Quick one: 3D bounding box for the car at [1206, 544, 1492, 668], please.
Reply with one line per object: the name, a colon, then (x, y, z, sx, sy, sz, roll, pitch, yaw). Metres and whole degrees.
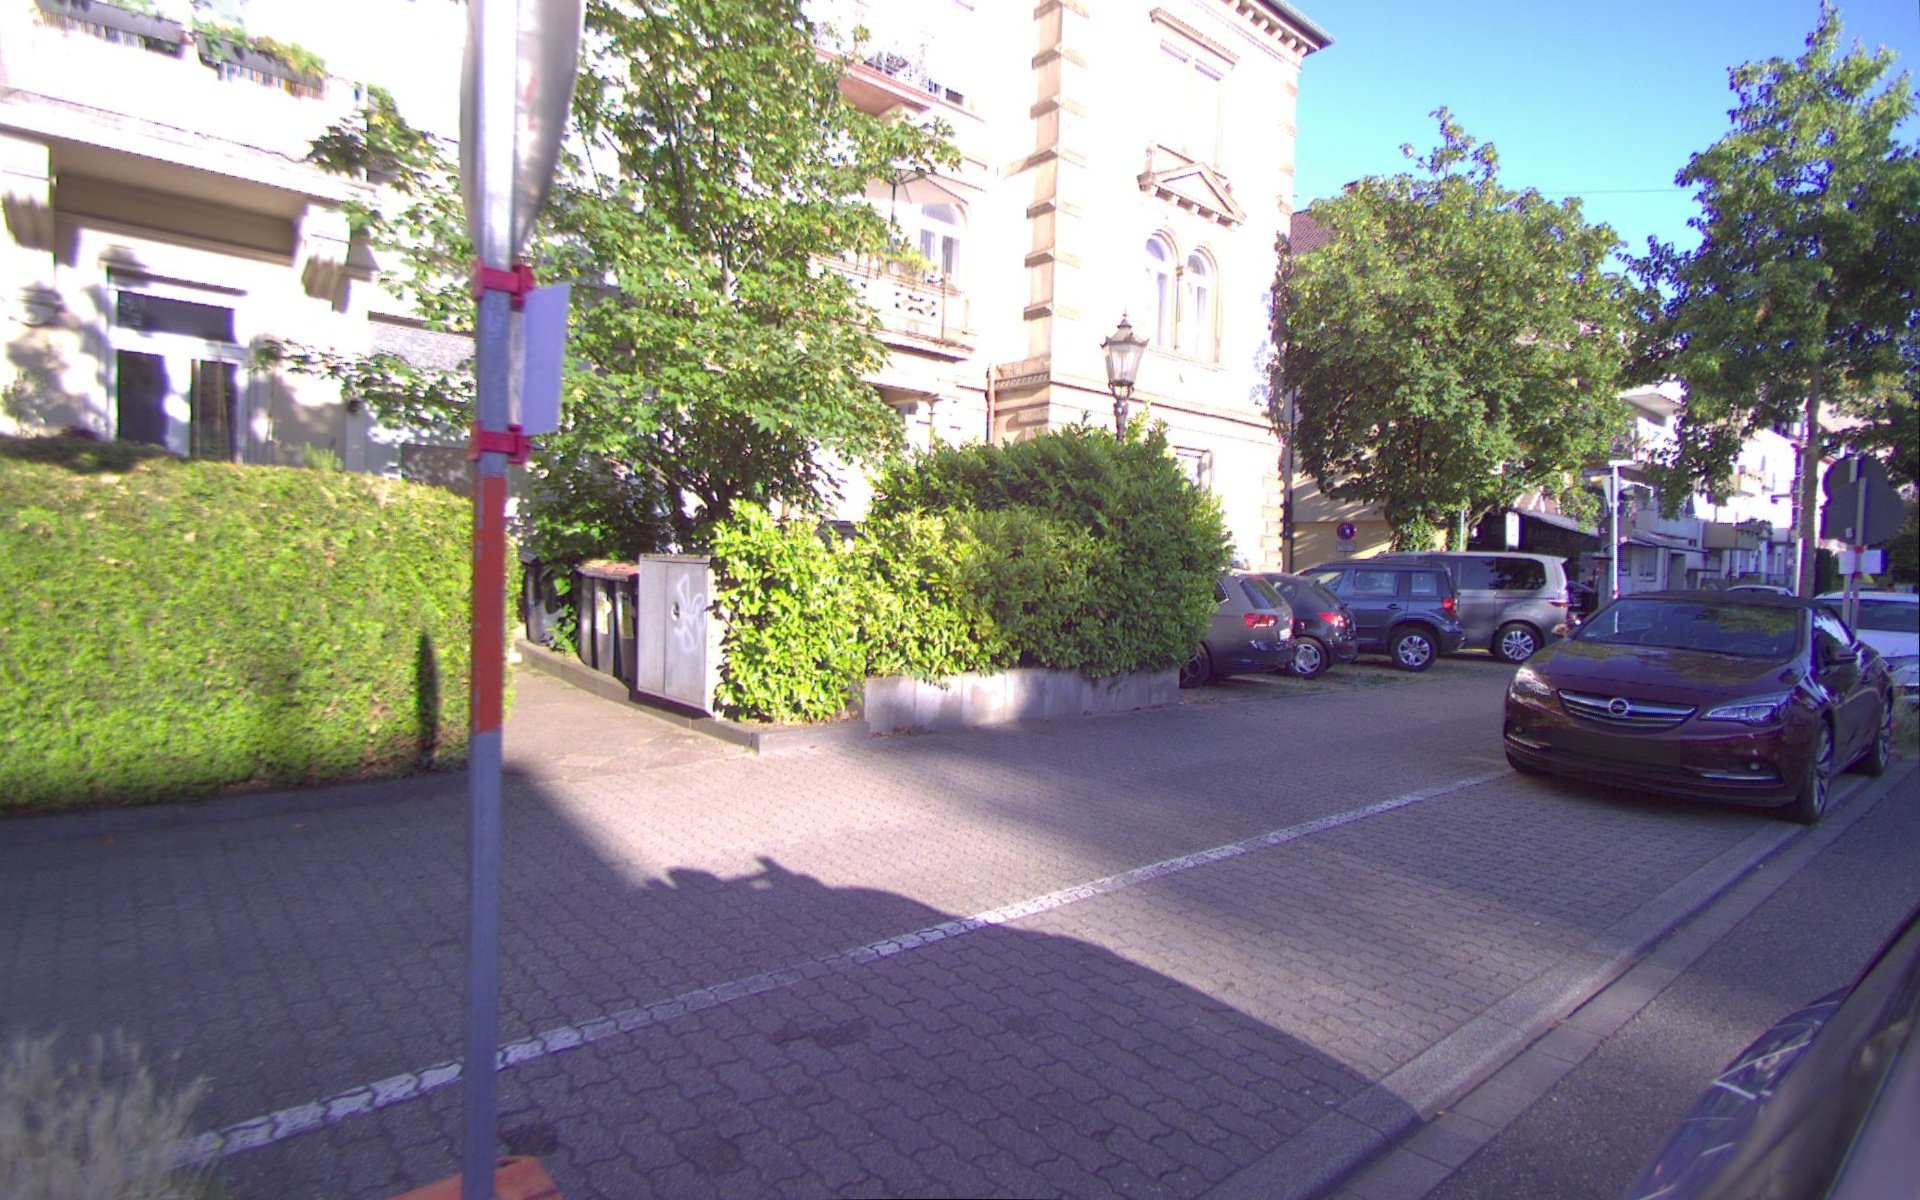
car: (6.176, 0.020, 16.425, 4.050, 1.720, 1.776, 3, 2, 20)

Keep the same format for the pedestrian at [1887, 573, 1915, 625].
pedestrian: (33.560, -0.039, 36.088, 0.552, 1.794, 0.619, 1, 1, -40)

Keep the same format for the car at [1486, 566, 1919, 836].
car: (5.969, 0.532, 7.852, 4.534, 1.437, 1.761, -1, 4, -41)

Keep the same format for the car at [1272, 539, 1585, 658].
car: (8.318, -0.100, 18.440, 4.881, 1.923, 1.907, 2, 2, 22)

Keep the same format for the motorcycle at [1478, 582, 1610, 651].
motorcycle: (11.624, 0.289, 20.187, 2.153, 1.255, 0.778, 3, 2, 40)

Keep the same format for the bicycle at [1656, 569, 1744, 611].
bicycle: (27.057, -0.388, 37.036, 0.912, 1.459, 2.457, 0, 2, -42)

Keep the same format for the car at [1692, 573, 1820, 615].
car: (31.908, -0.258, 40.638, 1.550, 1.523, 3.869, 0, 3, -45)

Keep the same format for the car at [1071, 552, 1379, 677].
car: (3.863, 0.127, 14.844, 4.061, 1.458, 1.701, 4, 3, 27)

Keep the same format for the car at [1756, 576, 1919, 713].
car: (12.089, 0.477, 13.187, 4.540, 1.496, 1.825, 0, 2, -40)

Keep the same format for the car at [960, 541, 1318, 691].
car: (2.270, 0.099, 13.229, 4.220, 1.529, 1.772, 4, 3, 32)
